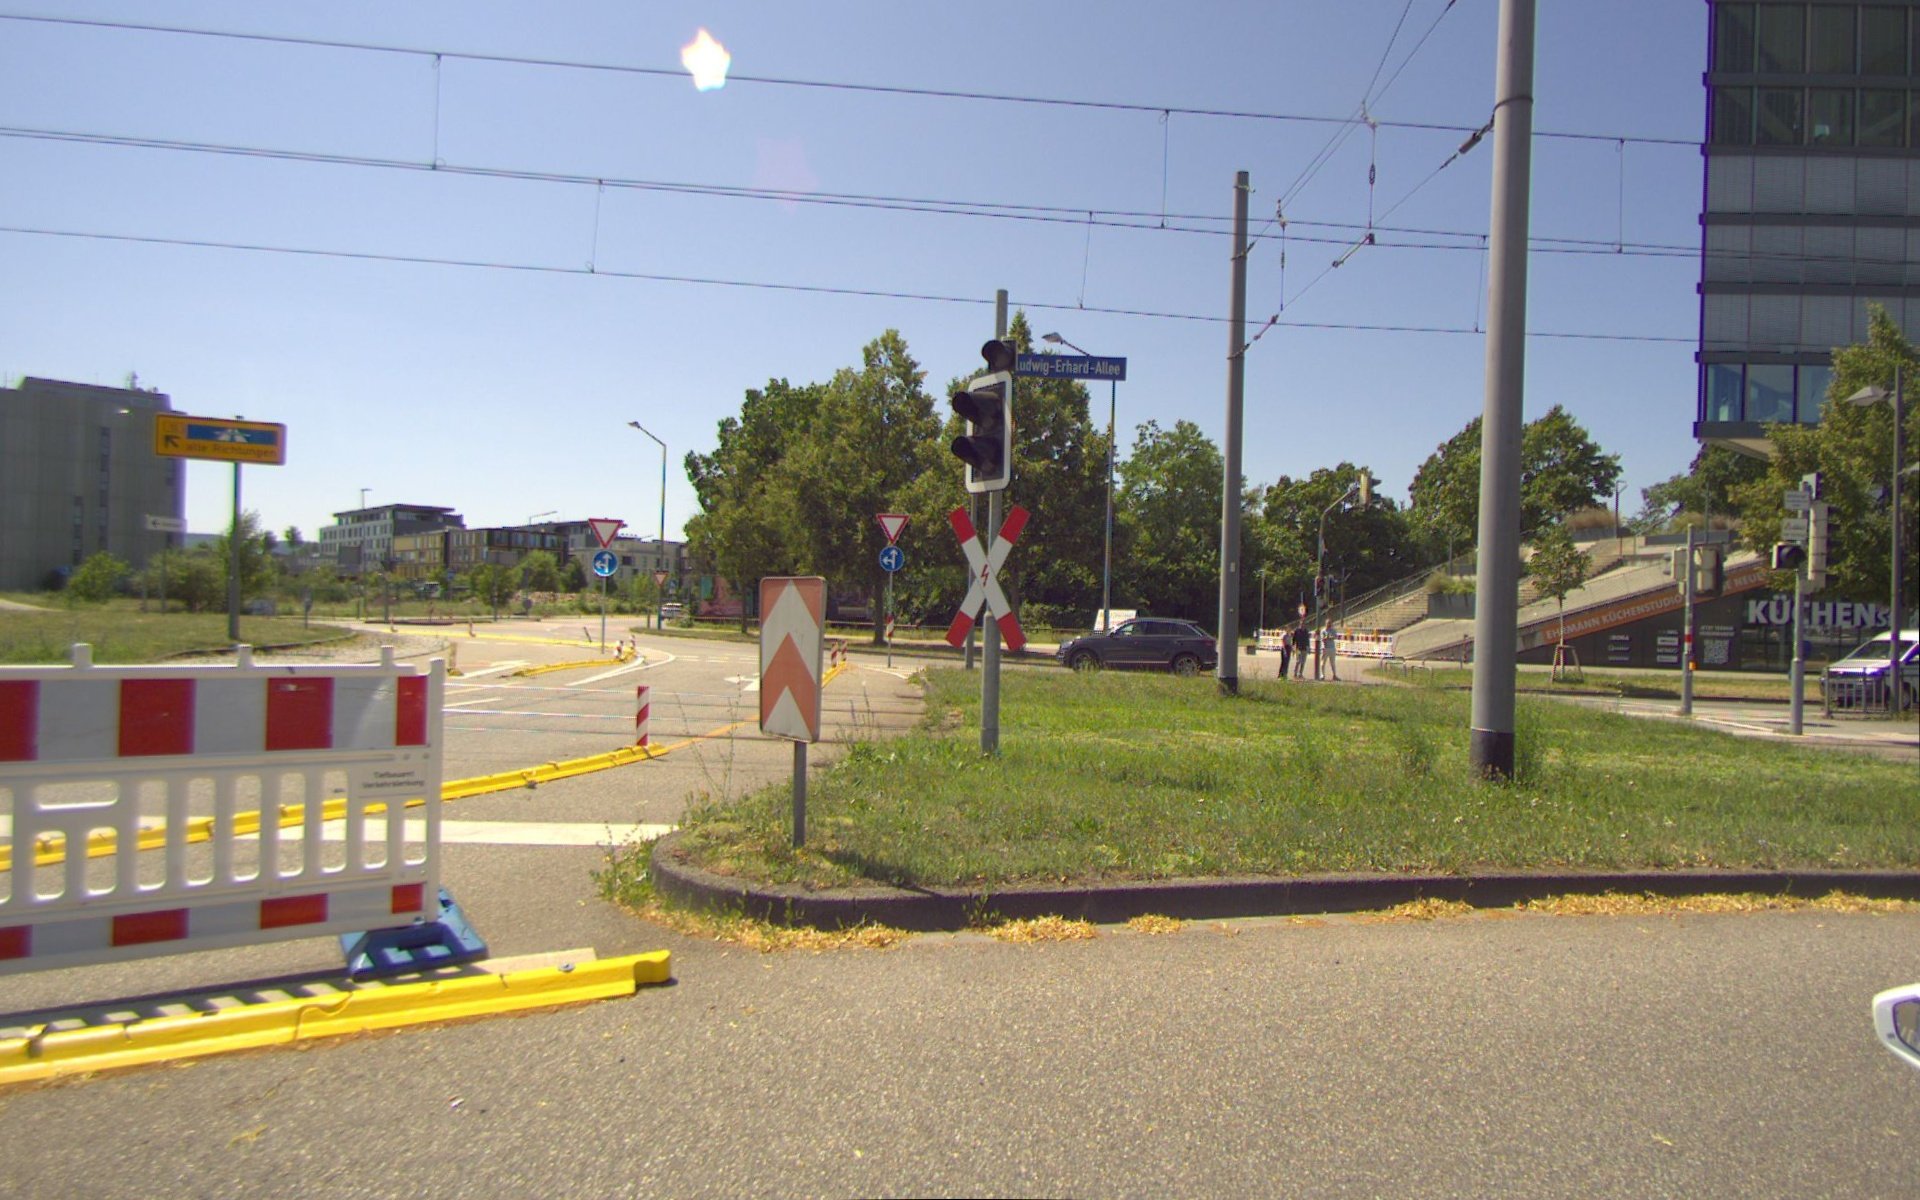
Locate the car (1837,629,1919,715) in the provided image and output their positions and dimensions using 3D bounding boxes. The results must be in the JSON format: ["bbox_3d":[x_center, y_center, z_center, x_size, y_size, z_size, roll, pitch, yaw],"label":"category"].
[{"bbox_3d":[26.680,1.935,26.319,5.431,2.134,2.001,2,0,3],"label":"car"}]

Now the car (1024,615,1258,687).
[{"bbox_3d":[4.669,1.267,26.120,5.718,1.537,2.001,2,0,12],"label":"car"}]

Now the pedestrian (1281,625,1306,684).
[{"bbox_3d":[10.039,1.633,30.215,0.588,1.762,0.341,2,0,1],"label":"pedestrian"}]

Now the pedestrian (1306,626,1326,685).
[{"bbox_3d":[10.949,1.701,30.904,0.440,1.762,0.291,2,0,1],"label":"pedestrian"}]

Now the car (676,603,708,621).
[{"bbox_3d":[-22.950,1.031,86.220,1.962,1.506,4.362,2,-1,-6],"label":"car"}]

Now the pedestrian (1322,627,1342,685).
[{"bbox_3d":[11.467,1.730,30.956,0.440,1.762,0.291,2,0,1],"label":"pedestrian"}]
